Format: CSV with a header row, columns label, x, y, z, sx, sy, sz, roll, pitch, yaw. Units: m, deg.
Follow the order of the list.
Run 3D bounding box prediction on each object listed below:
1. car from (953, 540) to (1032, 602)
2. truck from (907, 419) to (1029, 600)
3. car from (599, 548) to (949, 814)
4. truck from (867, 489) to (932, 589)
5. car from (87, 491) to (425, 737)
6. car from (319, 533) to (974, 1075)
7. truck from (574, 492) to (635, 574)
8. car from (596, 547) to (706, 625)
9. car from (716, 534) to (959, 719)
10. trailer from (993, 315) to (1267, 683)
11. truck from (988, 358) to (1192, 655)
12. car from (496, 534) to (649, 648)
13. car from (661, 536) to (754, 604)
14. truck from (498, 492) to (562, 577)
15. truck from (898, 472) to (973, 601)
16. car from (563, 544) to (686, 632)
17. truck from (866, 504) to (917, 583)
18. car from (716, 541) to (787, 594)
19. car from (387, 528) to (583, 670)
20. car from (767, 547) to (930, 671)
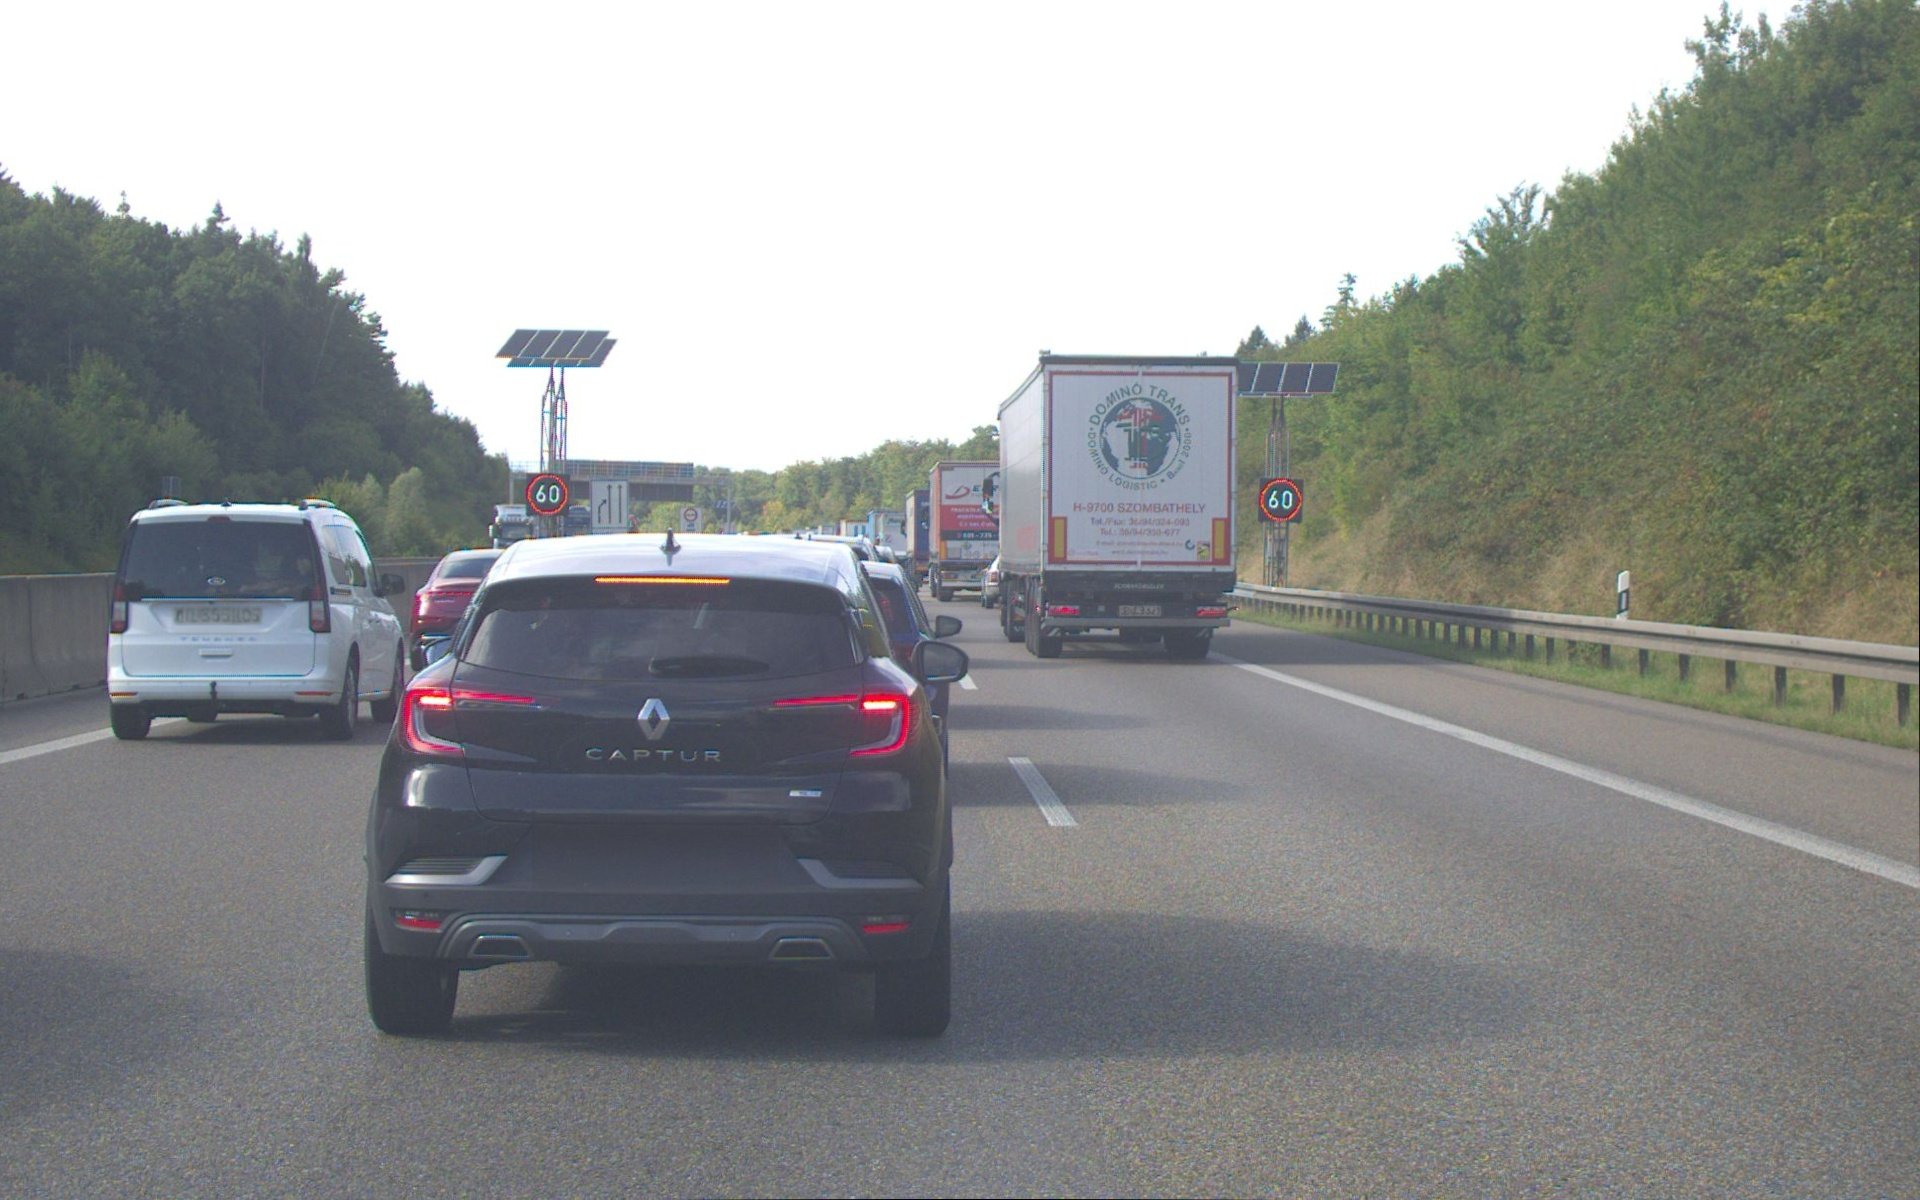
label,x,y,z,sx,sy,sz,roll,pitch,yaw
car,0.806,-0.729,87.338,1.804,1.527,3.926,1,0,-2
truck,0.196,-2.587,102.517,3.365,5.027,12.738,1,0,0
car,-1.088,0.450,21.775,1.993,1.509,4.000,1,0,-1
truck,-3.394,-3.421,195.903,3.167,5.486,12.737,1,0,1
car,-5.508,0.085,27.422,1.911,1.783,4.418,1,0,-2
car,-0.894,0.558,11.860,1.804,1.547,4.000,0,1,1
truck,-21.768,-4.100,211.000,2.890,4.917,10.081,1,1,-1
car,-6.549,-0.303,73.252,1.993,1.607,4.000,1,0,-1
car,-1.035,0.205,30.438,1.993,1.509,4.000,1,0,-1
trailer,2.220,-1.393,50.198,3.002,4.645,13.291,0,1,-1
truck,2.065,-1.524,57.085,2.997,4.651,5.940,0,1,-1
car,-6.091,-0.153,54.472,1.993,1.716,4.000,1,0,-1
car,-6.167,-0.748,84.320,1.993,1.607,4.000,0,1,-1
truck,-26.479,-4.047,212.229,2.890,5.075,10.081,1,1,-1
truck,-1.094,-2.787,154.405,3.166,5.486,12.738,1,0,0
car,-6.377,-0.243,65.718,1.993,1.607,4.000,1,0,-1
truck,-4.523,-3.755,230.631,3.166,5.142,12.738,1,0,0
car,-6.476,-1.019,107.131,1.993,1.607,4.000,0,1,-1
car,-5.767,-0.024,42.151,1.855,1.635,3.926,1,0,0
car,-1.402,0.092,44.550,1.993,1.509,4.000,1,0,-1
